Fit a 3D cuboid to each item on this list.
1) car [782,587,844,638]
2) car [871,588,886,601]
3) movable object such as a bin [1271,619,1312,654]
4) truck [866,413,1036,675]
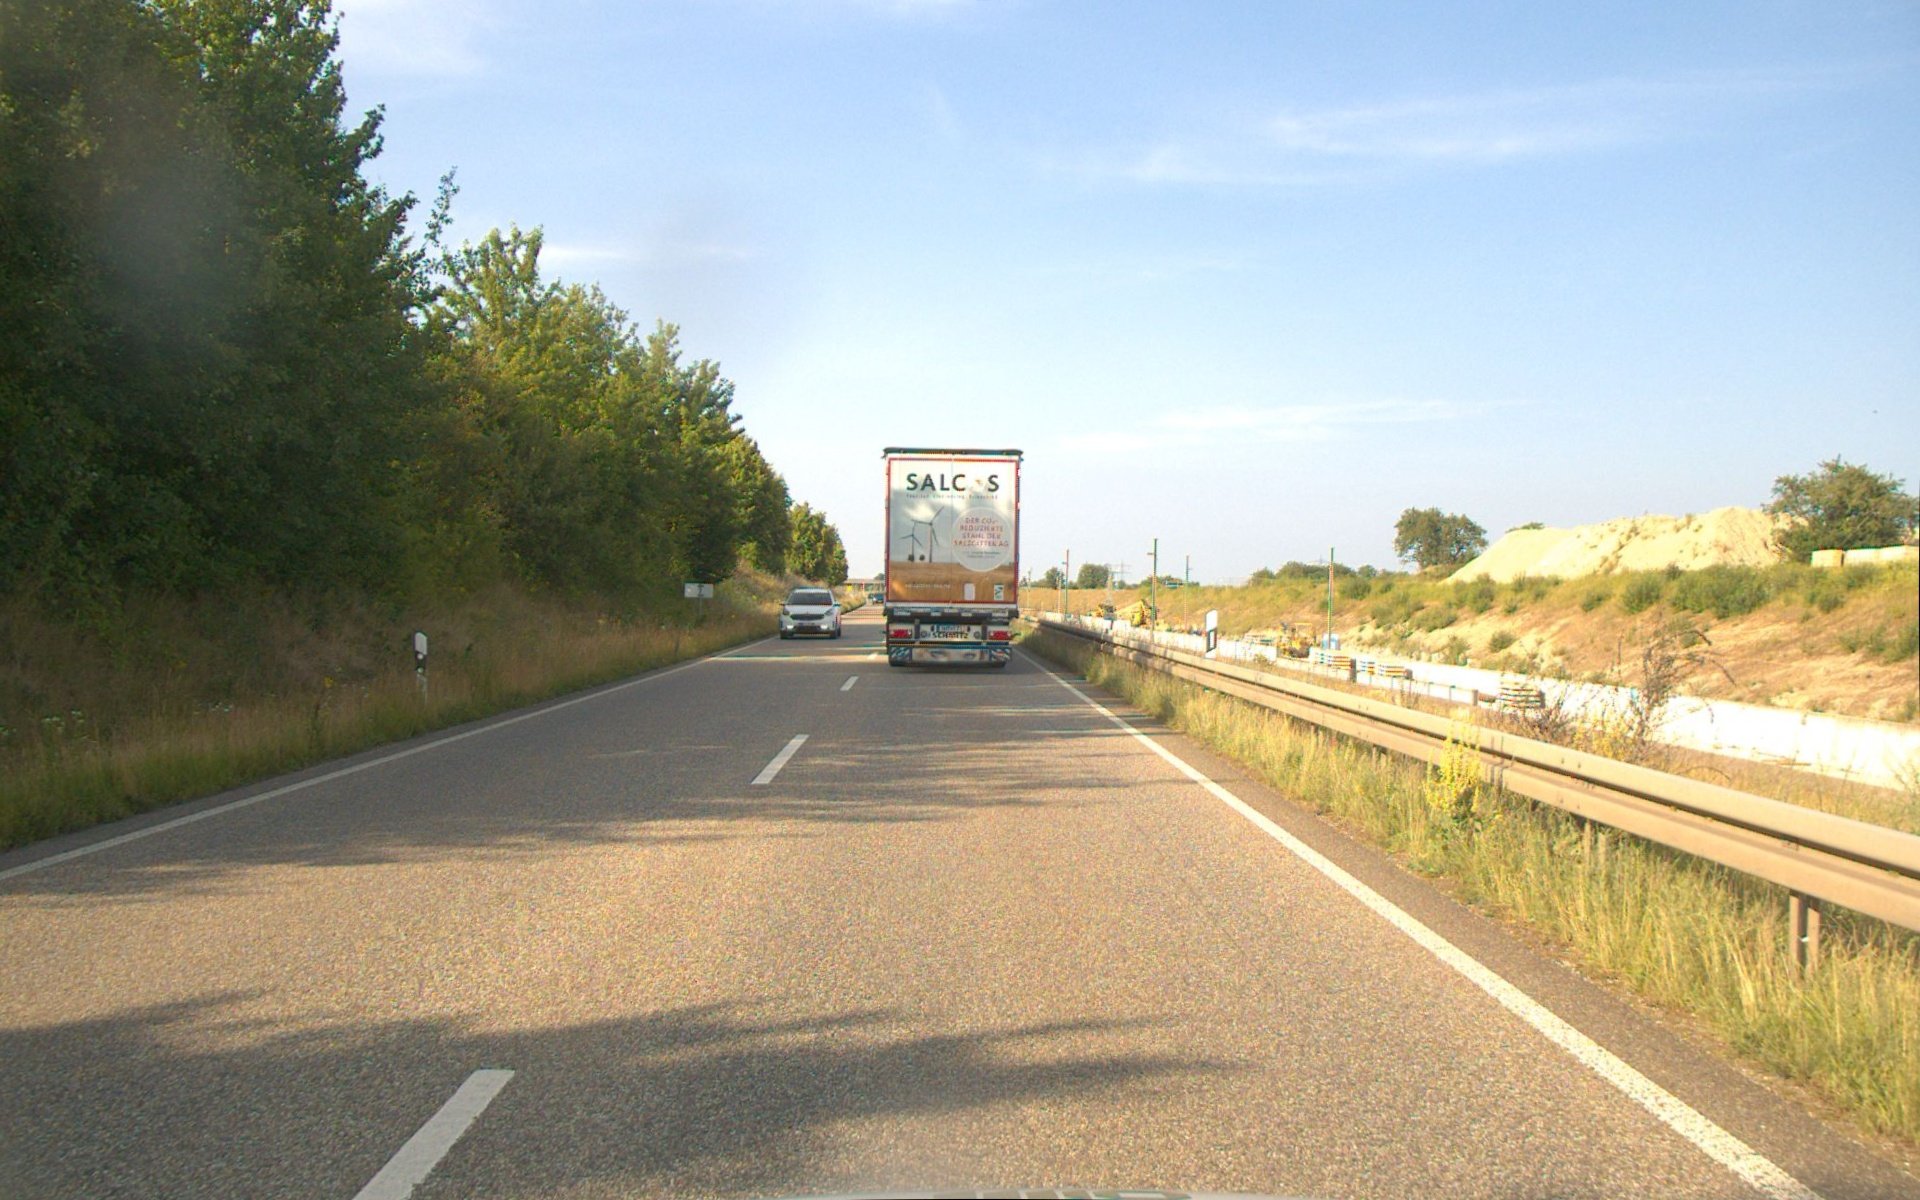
[{"bbox_3d":[-4.666,0.376,53.028,1.709,1.591,4.364,0,0,-2],"label":"car"},{"bbox_3d":[-9.656,-0.648,195.770,1.708,1.574,4.311,0,0,-1],"label":"car"},{"bbox_3d":[26.637,2.885,132.709,2.845,2.708,2.019,1,0,23],"label":"movable object such as a bin"},{"bbox_3d":[-0.273,-1.043,34.405,3.089,4.770,8.439,0,0,-2],"label":"truck"}]
